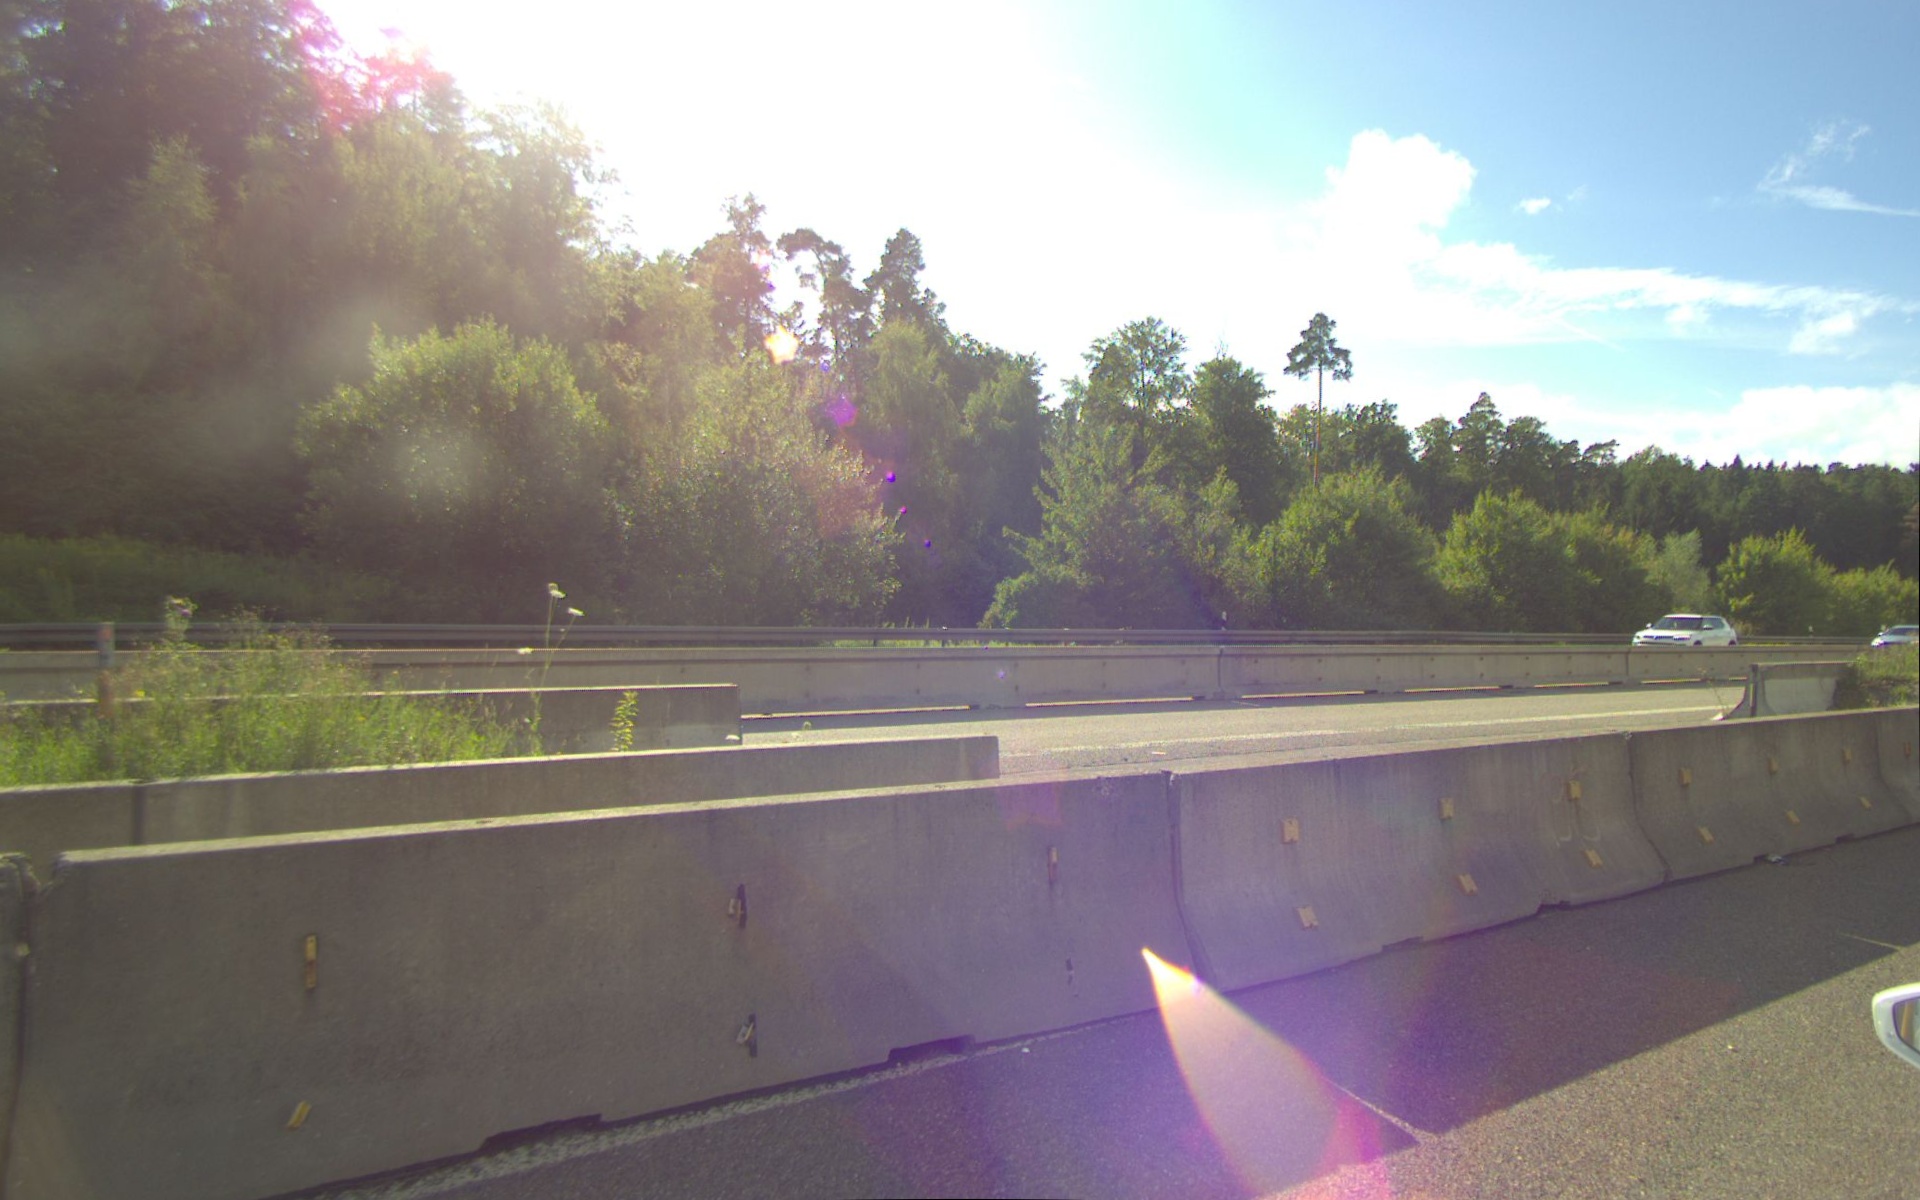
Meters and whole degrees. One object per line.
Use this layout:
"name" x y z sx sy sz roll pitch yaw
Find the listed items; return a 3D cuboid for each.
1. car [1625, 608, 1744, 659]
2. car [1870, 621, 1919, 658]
"car" 24.659 1.143 34.169 3.968 1.624 1.770 2 0 -29
"car" 44.634 1.838 46.918 4.619 1.624 1.770 2 0 -29
